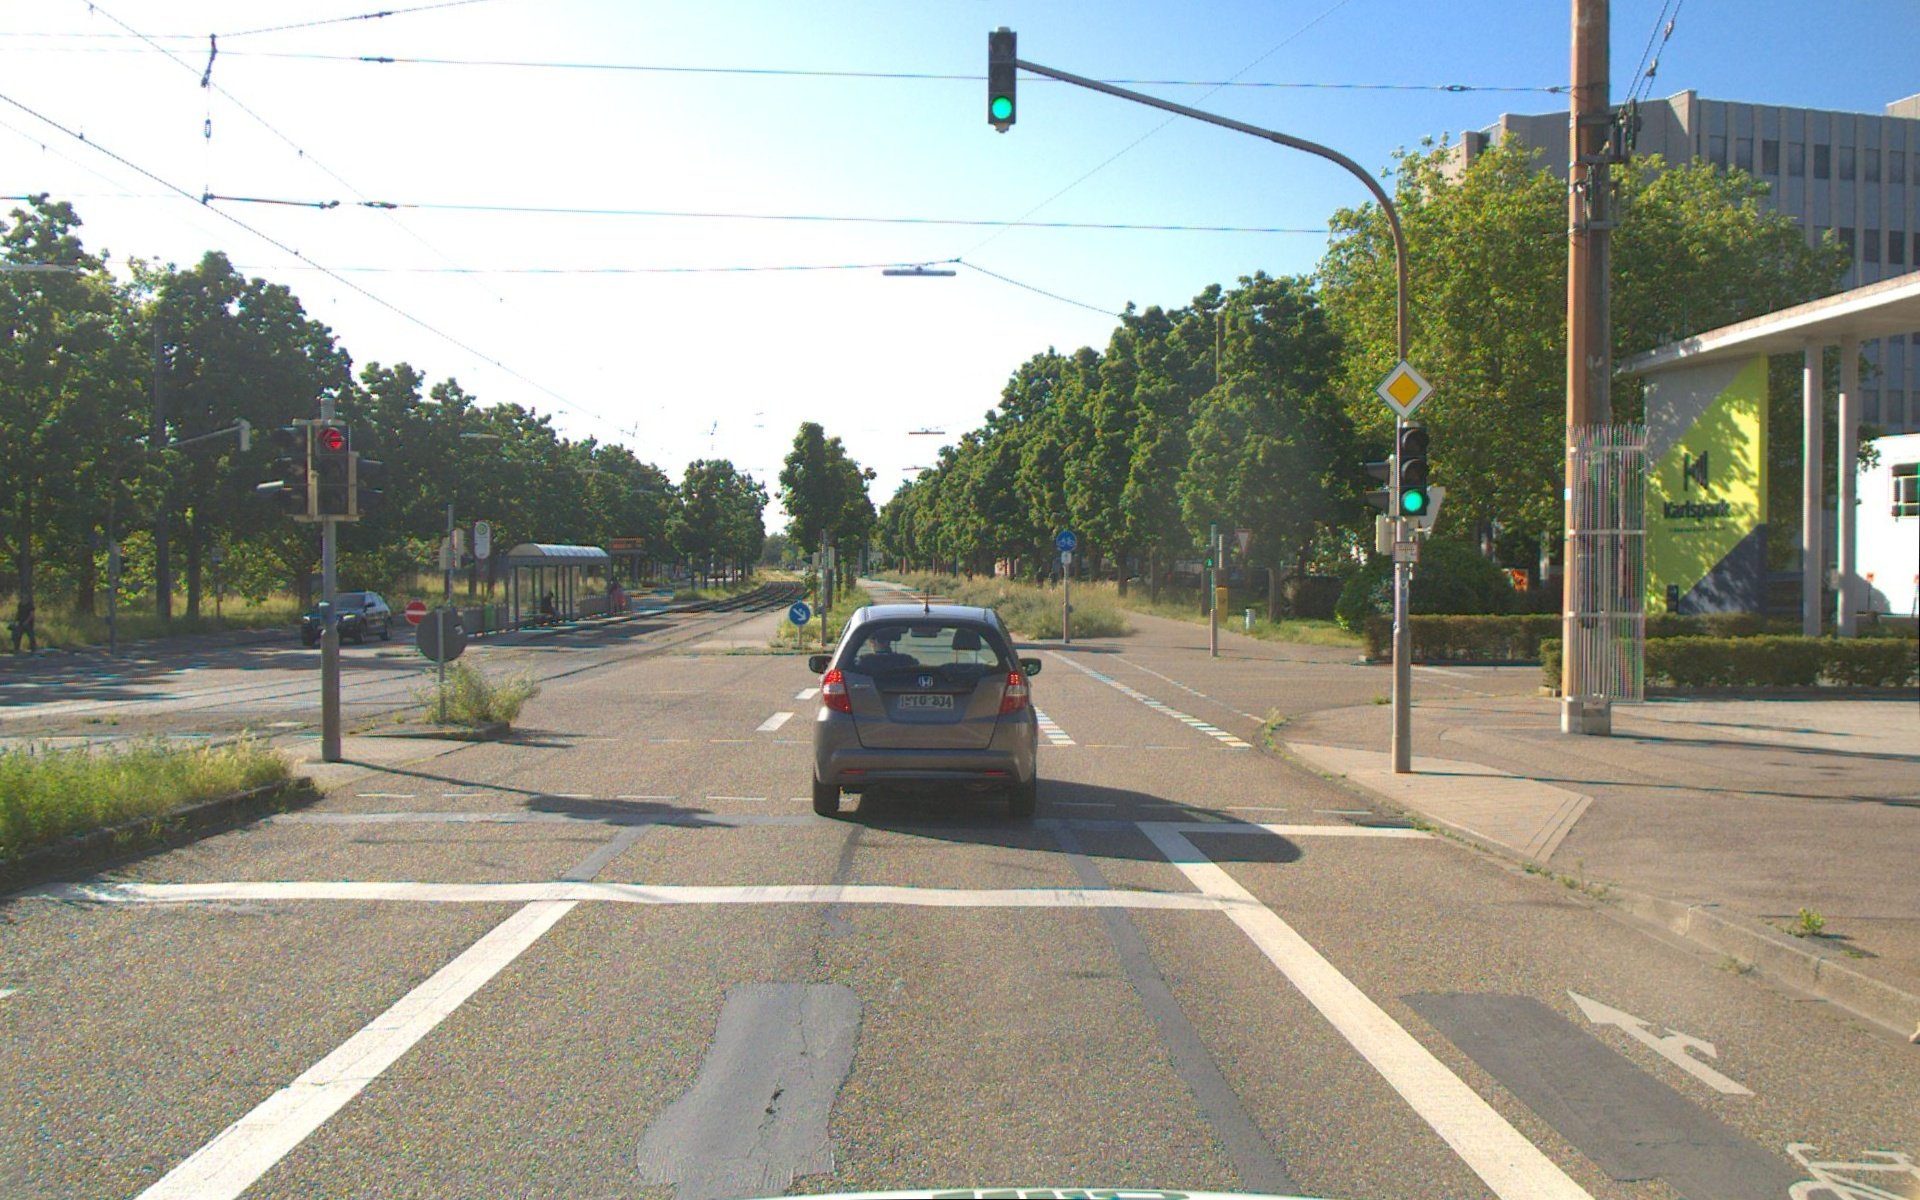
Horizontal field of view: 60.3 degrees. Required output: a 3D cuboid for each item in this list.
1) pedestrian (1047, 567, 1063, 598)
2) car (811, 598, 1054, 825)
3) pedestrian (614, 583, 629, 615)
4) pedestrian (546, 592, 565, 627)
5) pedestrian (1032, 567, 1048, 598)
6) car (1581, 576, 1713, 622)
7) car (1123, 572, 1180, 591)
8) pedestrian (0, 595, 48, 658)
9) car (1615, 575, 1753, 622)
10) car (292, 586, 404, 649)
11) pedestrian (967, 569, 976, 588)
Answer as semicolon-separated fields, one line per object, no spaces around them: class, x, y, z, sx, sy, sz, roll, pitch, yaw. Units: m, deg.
pedestrian;5.939;-1.091;103.571;0.865;1.917;0.875;-1;1;-5
car;-0.218;0.782;13.272;1.666;1.550;3.708;0;0;-1
pedestrian;-15.614;-0.038;76.331;0.533;1.473;0.559;-1;0;-1
pedestrian;-15.108;0.338;61.776;0.552;1.279;0.580;-2;0;-2
pedestrian;5.015;-1.105;103.538;0.865;1.917;0.875;-1;1;-5
car;26.619;-0.046;64.126;4.371;1.716;1.892;0;0;-7
car;16.373;-1.555;141.324;4.543;1.583;1.997;-1;1;-7
pedestrian;-26.730;0.746;47.218;0.744;1.764;0.936;0;1;27
car;26.920;-0.074;61.567;4.371;1.716;1.892;0;0;-7
car;-20.113;0.524;54.579;2.052;1.841;4.790;-2;1;-3
pedestrian;0.995;-1.868;143.976;0.710;1.720;0.820;0;0;-3
